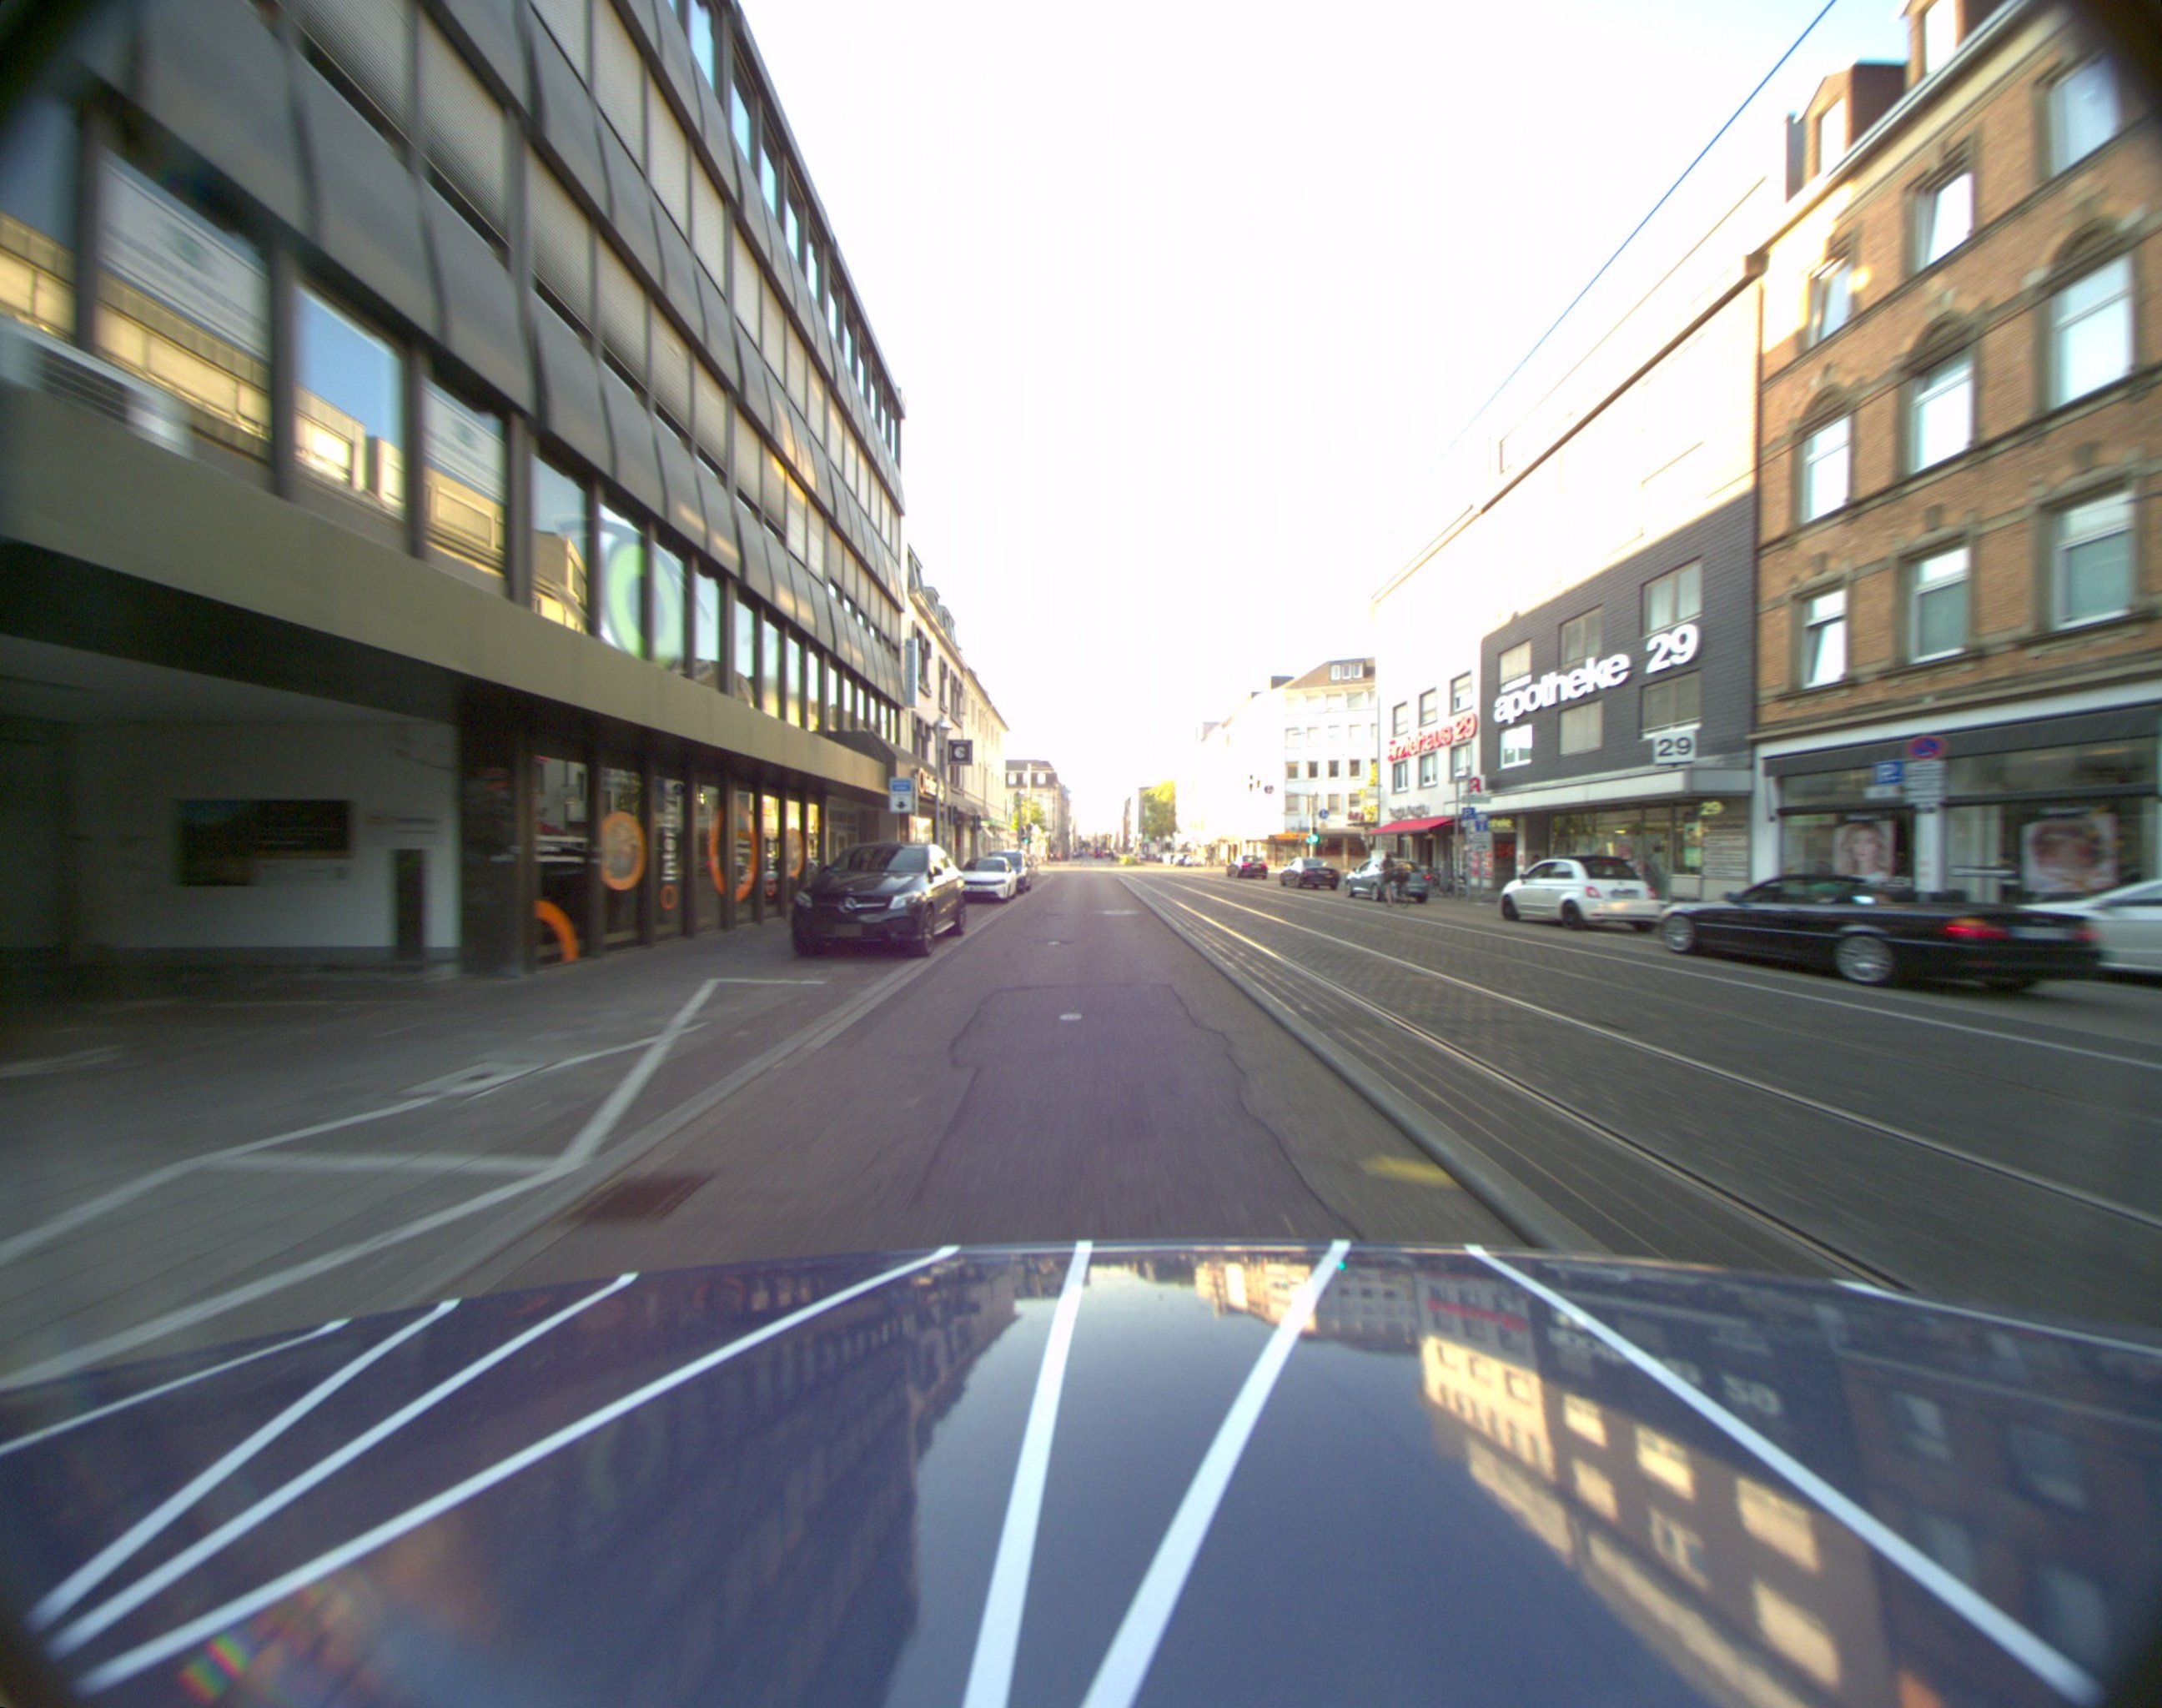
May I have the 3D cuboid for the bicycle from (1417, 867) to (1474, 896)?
[{"bbox_3d":[13.757,1.047,28.670,1.860,0.978,0.492,-3,1,1],"label":"bicycle"}]

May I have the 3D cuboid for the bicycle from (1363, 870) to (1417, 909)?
[{"bbox_3d":[8.937,0.999,22.044,0.695,1.028,2.081,0,1,0],"label":"bicycle"}]

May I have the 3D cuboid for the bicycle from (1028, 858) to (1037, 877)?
[{"bbox_3d":[-2.822,0.773,44.558,0.479,1.083,1.647,2,1,-2],"label":"bicycle"}]

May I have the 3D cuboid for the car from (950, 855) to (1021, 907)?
[{"bbox_3d":[-3.027,0.815,24.870,1.770,1.477,3.872,2,1,0],"label":"car"}]

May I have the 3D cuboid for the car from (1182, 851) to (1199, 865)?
[{"bbox_3d":[13.889,0.504,96.312,1.847,1.626,4.001,0,0,3],"label":"car"}]

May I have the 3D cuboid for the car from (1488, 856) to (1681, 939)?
[{"bbox_3d":[10.634,0.834,16.402,1.671,1.497,3.680,2,1,0],"label":"car"}]

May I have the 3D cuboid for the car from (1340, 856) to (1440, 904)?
[{"bbox_3d":[10.373,0.825,25.824,1.762,1.378,4.061,2,1,1],"label":"car"}]

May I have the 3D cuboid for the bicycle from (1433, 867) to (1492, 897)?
[{"bbox_3d":[13.736,0.992,27.398,1.860,0.978,0.462,-3,1,1],"label":"bicycle"}]

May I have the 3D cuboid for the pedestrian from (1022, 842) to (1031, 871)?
[{"bbox_3d":[-3.598,0.175,50.423,0.576,1.917,0.496,0,1,-10],"label":"pedestrian"}]

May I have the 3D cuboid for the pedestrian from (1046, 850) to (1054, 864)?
[{"bbox_3d":[-3.812,0.342,93.422,0.806,1.603,0.993,-1,2,0],"label":"pedestrian"}]

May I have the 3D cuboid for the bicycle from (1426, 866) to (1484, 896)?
[{"bbox_3d":[13.740,0.998,27.914,1.860,0.978,0.462,-3,1,1],"label":"bicycle"}]

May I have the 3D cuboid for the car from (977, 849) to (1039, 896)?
[{"bbox_3d":[-2.882,0.666,30.980,1.919,1.707,4.563,2,1,1],"label":"car"}]

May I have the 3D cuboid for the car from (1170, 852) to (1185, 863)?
[{"bbox_3d":[13.995,0.458,110.538,1.847,1.626,4.001,0,0,3],"label":"car"}]

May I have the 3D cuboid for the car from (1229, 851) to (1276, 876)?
[{"bbox_3d":[10.550,0.574,46.941,1.919,1.378,4.563,2,1,1],"label":"car"}]

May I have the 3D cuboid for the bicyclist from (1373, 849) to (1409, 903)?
[{"bbox_3d":[8.943,0.621,21.954,0.695,1.556,0.799,0,1,-1],"label":"bicyclist"}]

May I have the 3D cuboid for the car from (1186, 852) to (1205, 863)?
[{"bbox_3d":[13.793,0.422,91.803,1.847,1.287,4.001,0,0,3],"label":"car"}]

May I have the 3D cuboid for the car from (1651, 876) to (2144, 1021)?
[{"bbox_3d":[9.736,1.006,9.710,1.671,1.221,4.273,2,1,0],"label":"car"}]

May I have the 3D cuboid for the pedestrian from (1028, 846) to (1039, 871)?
[{"bbox_3d":[-3.269,0.311,52.417,0.639,1.735,0.699,0,1,3],"label":"pedestrian"}]

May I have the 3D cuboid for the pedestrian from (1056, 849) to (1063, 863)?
[{"bbox_3d":[-2.649,0.251,93.442,0.806,1.603,0.993,-1,2,0],"label":"pedestrian"}]

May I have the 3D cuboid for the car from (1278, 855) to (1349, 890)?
[{"bbox_3d":[10.594,0.806,35.024,1.919,1.378,4.563,2,1,1],"label":"car"}]

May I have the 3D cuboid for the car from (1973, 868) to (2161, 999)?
[{"bbox_3d":[13.255,0.935,8.379,1.763,1.381,4.272,-2,1,-1],"label":"car"}]

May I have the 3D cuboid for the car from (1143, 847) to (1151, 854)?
[{"bbox_3d":[15.204,-0.882,175.323,1.847,1.626,4.001,0,0,3],"label":"car"}]

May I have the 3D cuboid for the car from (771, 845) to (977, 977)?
[{"bbox_3d":[-3.140,0.760,12.674,1.989,1.724,4.670,2,1,2],"label":"car"}]
